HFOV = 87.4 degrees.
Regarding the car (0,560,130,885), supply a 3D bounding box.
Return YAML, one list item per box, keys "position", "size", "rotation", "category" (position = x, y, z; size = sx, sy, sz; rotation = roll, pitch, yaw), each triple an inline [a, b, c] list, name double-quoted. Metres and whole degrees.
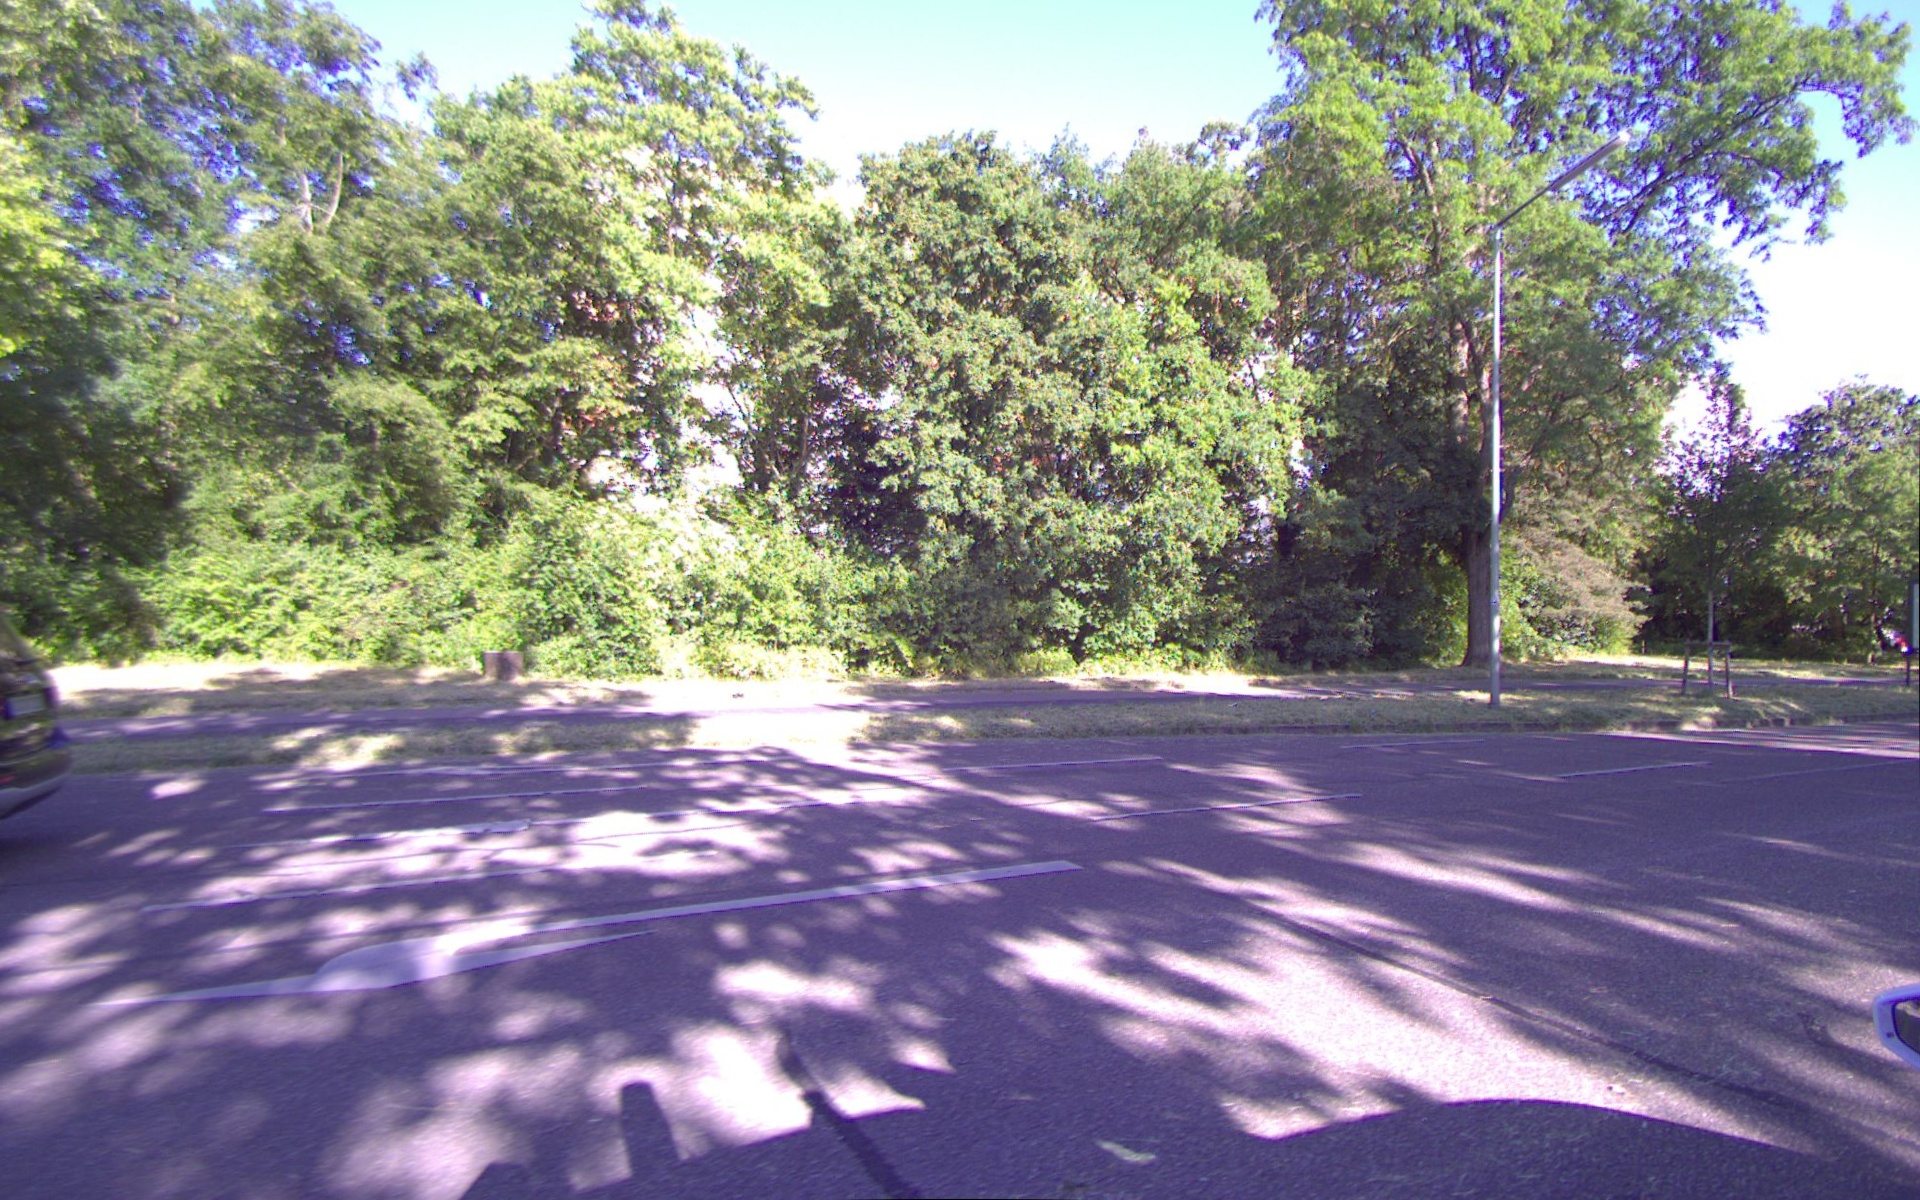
- position: [-7.423, 0.624, 5.207]
  size: [4.446, 1.731, 1.833]
  rotation: [2, -2, -27]
  category: "car"
